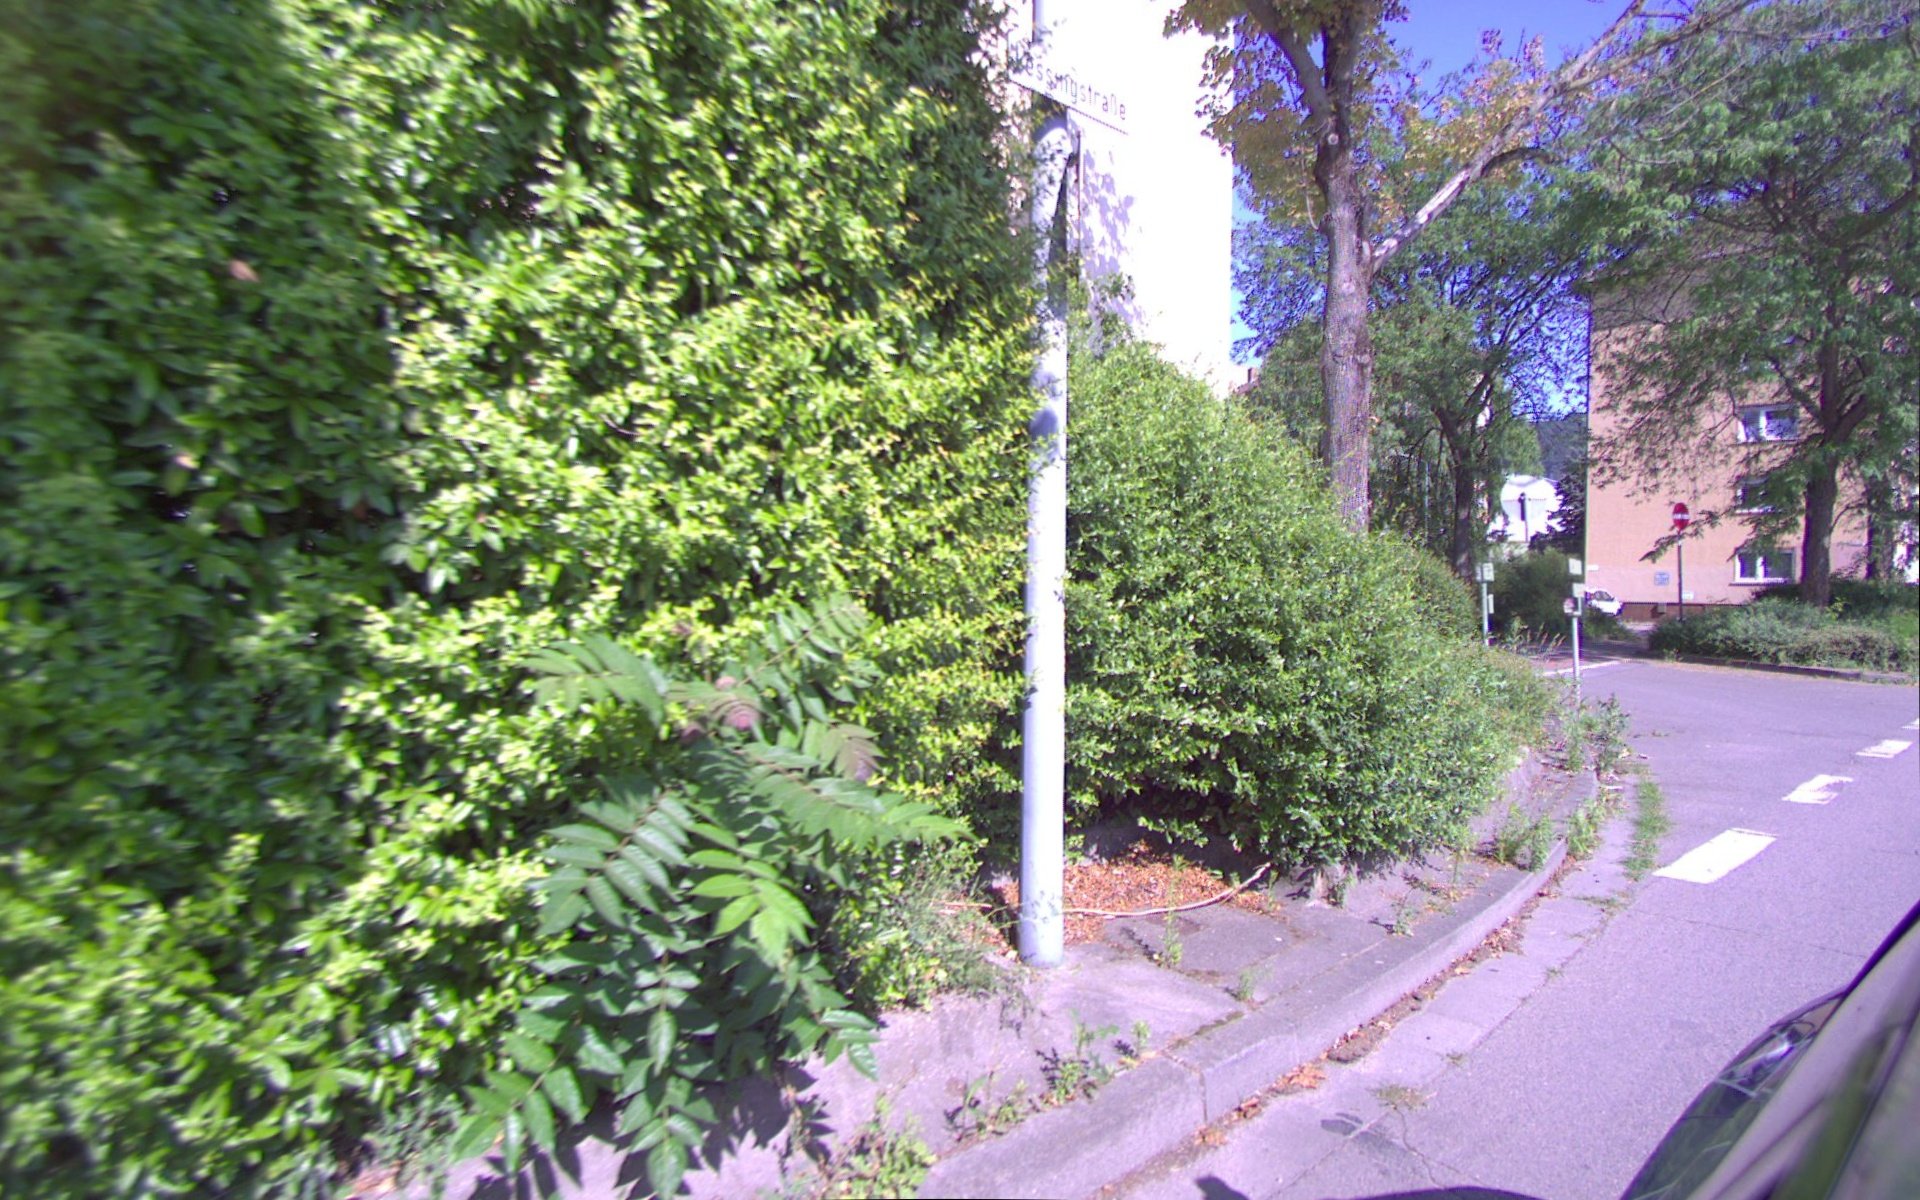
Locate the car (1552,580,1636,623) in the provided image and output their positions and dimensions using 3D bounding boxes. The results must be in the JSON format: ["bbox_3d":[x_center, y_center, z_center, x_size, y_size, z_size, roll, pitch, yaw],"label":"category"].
[{"bbox_3d":[25.974,0.033,41.448,3.715,1.661,1.661,0,1,-37],"label":"car"}]
